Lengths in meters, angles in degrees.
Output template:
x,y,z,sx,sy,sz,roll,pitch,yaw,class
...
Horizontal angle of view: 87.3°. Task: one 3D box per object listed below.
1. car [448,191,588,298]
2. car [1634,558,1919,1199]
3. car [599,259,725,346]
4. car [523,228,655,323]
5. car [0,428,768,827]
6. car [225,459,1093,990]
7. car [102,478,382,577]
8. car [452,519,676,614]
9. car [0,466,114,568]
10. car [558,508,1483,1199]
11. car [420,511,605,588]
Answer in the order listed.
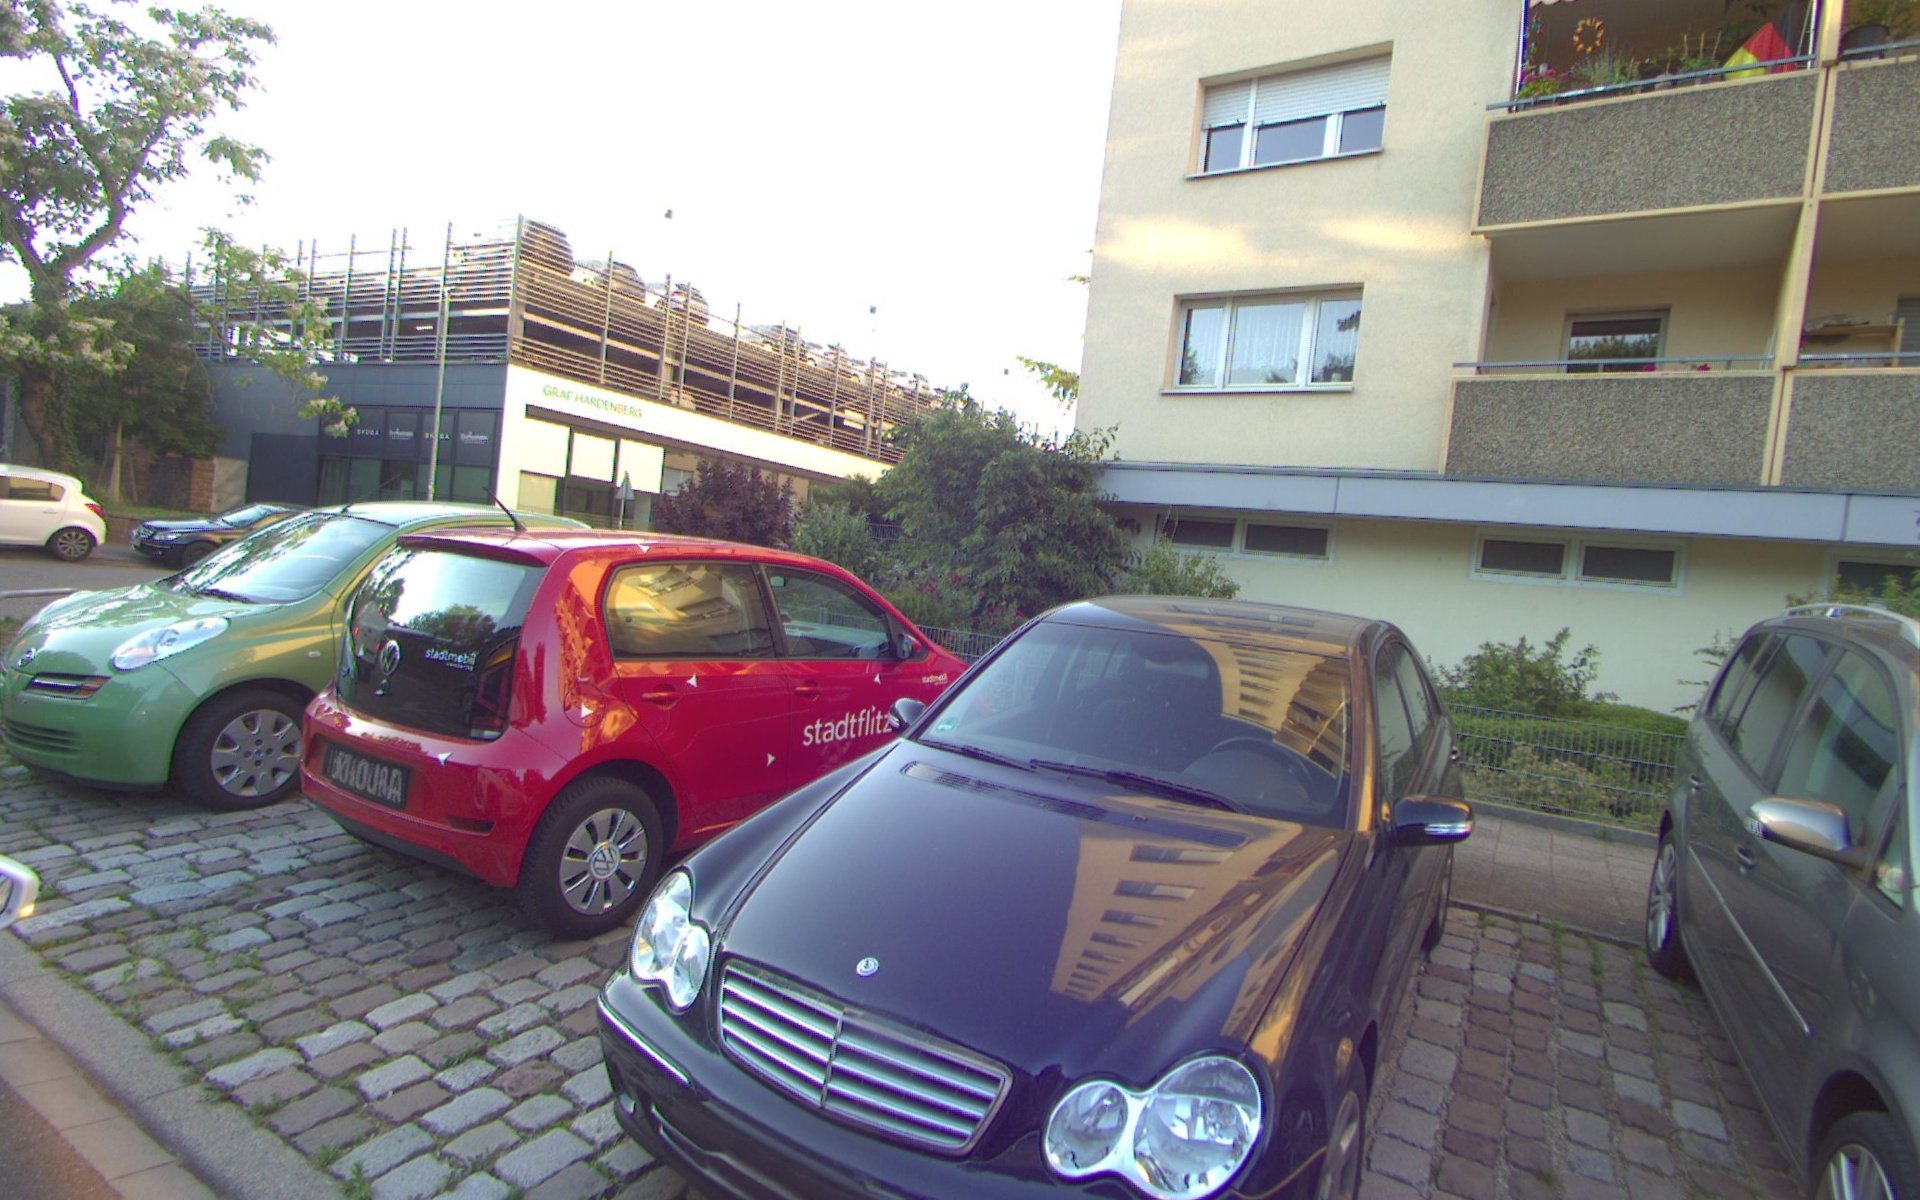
x,y,z,sx,sy,sz,roll,pitch,yaw,class
-13.317,-10.578,30.248,3.938,2.039,1.994,7,0,36,car
3.248,0.820,2.715,1.814,1.684,4.405,5,3,28,car
-10.267,-10.154,34.609,3.938,2.039,1.994,7,0,36,car
-11.996,-10.379,32.454,3.938,2.039,1.994,7,0,36,car
-3.416,0.105,6.536,1.814,1.653,4.407,5,1,28,car
-1.100,0.307,5.522,1.815,1.655,4.398,7,5,32,car
-14.636,-1.434,20.741,1.794,1.523,4.290,7,2,35,car
-7.964,-0.640,20.540,1.794,1.544,3.835,7,2,35,car
-17.225,-1.595,17.089,1.924,1.594,3.861,8,1,29,car
0.912,0.670,3.900,1.814,1.551,4.407,5,1,28,car
-11.207,-1.239,25.427,1.794,1.523,3.835,7,2,35,car
